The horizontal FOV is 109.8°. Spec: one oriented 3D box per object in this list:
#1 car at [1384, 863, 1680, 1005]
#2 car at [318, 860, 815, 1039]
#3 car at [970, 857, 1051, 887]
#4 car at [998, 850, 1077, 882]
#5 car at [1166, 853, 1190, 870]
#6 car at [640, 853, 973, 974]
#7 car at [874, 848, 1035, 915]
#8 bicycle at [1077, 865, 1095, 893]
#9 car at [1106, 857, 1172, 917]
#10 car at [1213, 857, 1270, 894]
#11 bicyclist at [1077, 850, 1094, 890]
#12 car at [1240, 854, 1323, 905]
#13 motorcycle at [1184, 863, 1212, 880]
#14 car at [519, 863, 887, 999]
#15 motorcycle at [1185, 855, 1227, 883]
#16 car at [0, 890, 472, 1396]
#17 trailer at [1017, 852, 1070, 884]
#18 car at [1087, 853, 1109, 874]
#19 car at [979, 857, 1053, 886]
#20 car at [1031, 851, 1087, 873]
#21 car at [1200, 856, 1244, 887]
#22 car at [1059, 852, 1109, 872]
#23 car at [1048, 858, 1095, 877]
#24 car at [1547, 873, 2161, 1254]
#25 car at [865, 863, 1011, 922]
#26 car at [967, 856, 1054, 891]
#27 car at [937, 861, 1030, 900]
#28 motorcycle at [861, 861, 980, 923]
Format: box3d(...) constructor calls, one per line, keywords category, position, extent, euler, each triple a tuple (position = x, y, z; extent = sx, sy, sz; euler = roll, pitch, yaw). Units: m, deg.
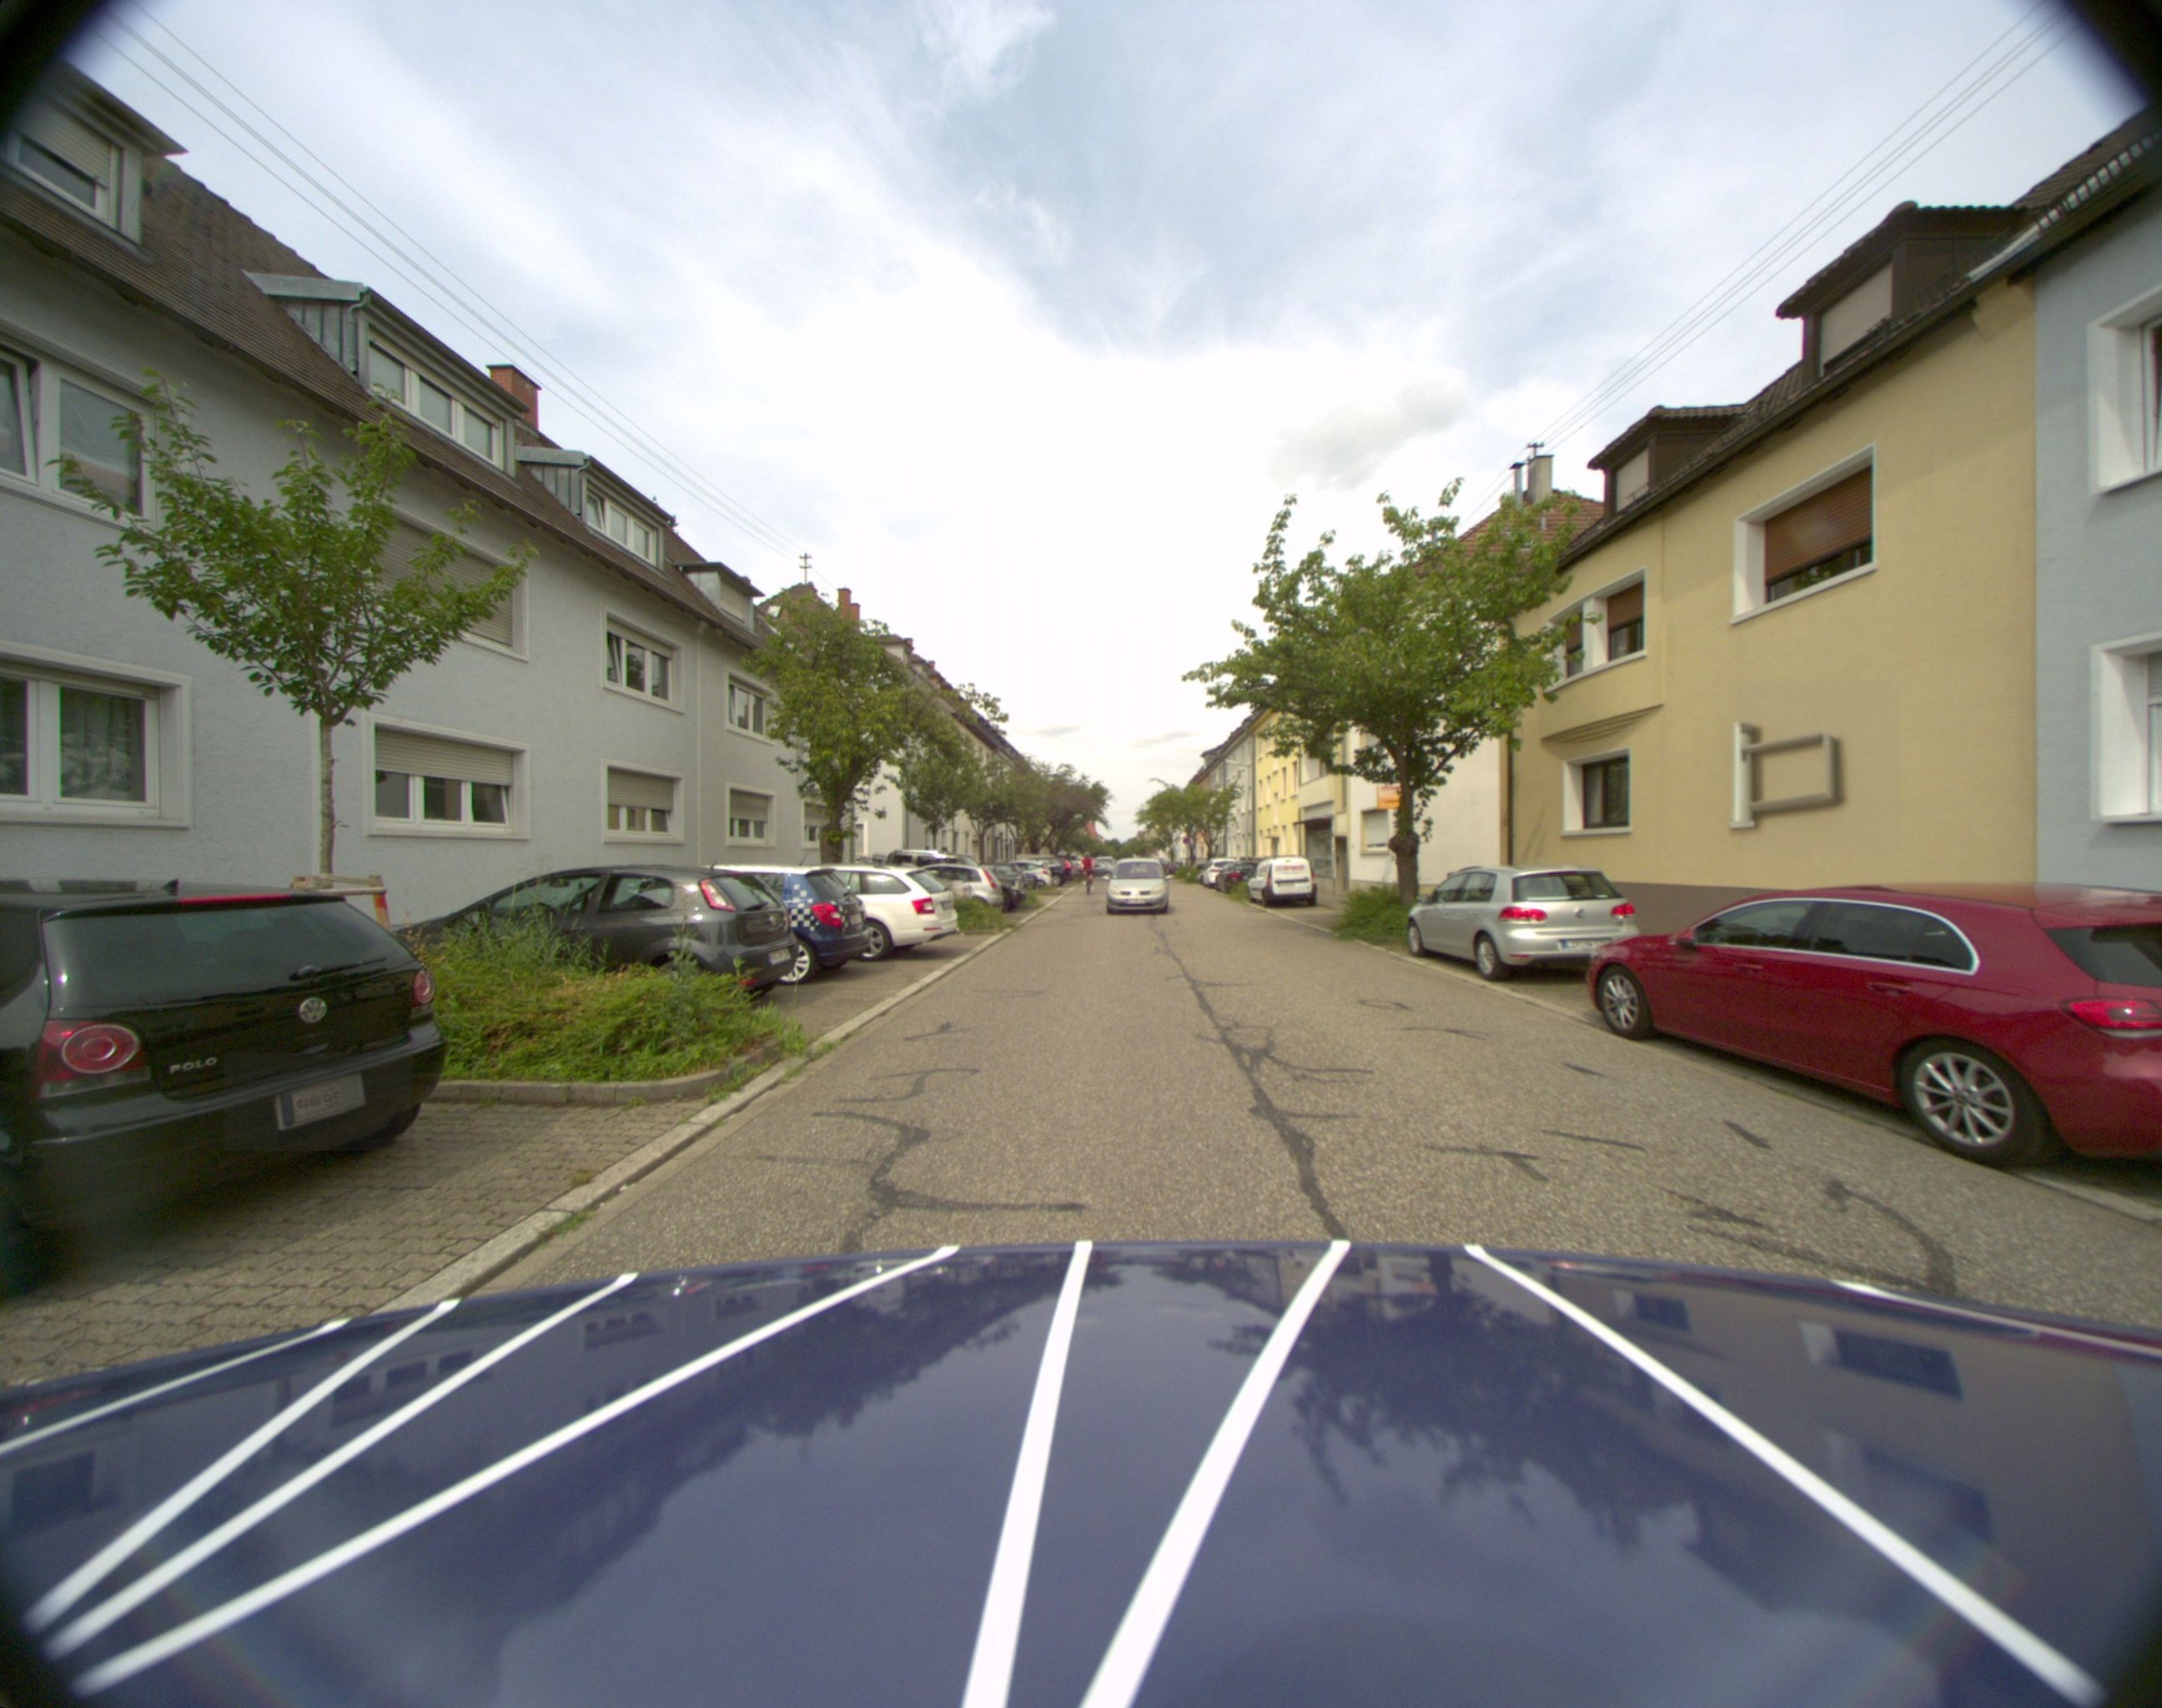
box3d(category="car", position=(5.984, 0.947, 10.800), extent=(1.776, 1.384, 4.276), euler=(-6, 0, 4))
box3d(category="car", position=(-5.060, 0.877, 7.830), extent=(3.996, 1.499, 1.713), euler=(1, 0, 3))
box3d(category="car", position=(-3.614, 0.909, 39.439), extent=(3.997, 1.402, 1.768), euler=(1, 0, 0))
box3d(category="car", position=(-2.466, 0.675, 43.721), extent=(4.223, 1.725, 1.904), euler=(1, 0, 5))
box3d(category="car", position=(9.596, 0.741, 75.371), extent=(1.841, 1.475, 4.121), euler=(-3, 0, 1))
box3d(category="car", position=(-4.236, 0.866, 12.213), extent=(4.624, 1.654, 1.893), euler=(1, 0, 4))
box3d(category="car", position=(-3.831, 0.809, 23.387), extent=(4.534, 1.847, 1.793), euler=(1, 1, 5))
box3d(category="bicycle", position=(0.238, 1.127, 34.641), extent=(0.693, 1.220, 1.937), euler=(-1, 0, 3))
box3d(category="car", position=(1.693, 0.917, 23.213), extent=(1.788, 1.595, 4.837), euler=(0, 0, 2))
box3d(category="car", position=(7.249, 0.909, 34.739), extent=(1.794, 1.483, 4.813), euler=(-1, 1, 3))
box3d(category="bicyclist", position=(0.227, 0.729, 34.610), extent=(0.694, 1.760, 0.986), euler=(-1, 1, 3))
box3d(category="car", position=(6.887, 0.807, 26.558), extent=(1.923, 1.572, 4.383), euler=(1, 0, 3))
box3d(category="motorcycle", position=(8.121, 1.223, 52.728), extent=(1.914, 1.185, 0.595), euler=(1, 1, -24))
box3d(category="car", position=(-4.822, 0.934, 10.053), extent=(3.996, 1.499, 1.713), euler=(1, 0, 3))
box3d(category="motorcycle", position=(7.474, 0.880, 45.681), extent=(0.941, 1.666, 2.467), euler=(1, -1, -40))
box3d(category="car", position=(-5.282, 0.922, 3.275), extent=(3.996, 1.413, 1.713), euler=(1, 0, 3))
box3d(category="trailer", position=(-2.278, 0.825, 46.298), extent=(2.966, 1.821, 1.401), euler=(1, 1, 6))
box3d(category="car", position=(1.662, 0.908, 74.846), extent=(1.998, 1.903, 4.704), euler=(-2, 0, 1))
box3d(category="car", position=(-3.496, 0.944, 41.526), extent=(3.756, 1.433, 1.865), euler=(1, 0, 4))
box3d(category="car", position=(-1.757, 0.659, 61.619), extent=(4.223, 1.668, 1.904), euler=(1, 0, 5))
box3d(category="car", position=(7.551, 0.903, 41.053), extent=(1.761, 1.547, 4.256), euler=(0, 0, 3))
box3d(category="car", position=(0.308, 0.835, 80.676), extent=(5.243, 2.011, 2.073), euler=(1, 1, -1))
box3d(category="car", position=(-0.801, 1.186, 66.161), extent=(3.996, 1.527, 1.638), euler=(1, 0, 2))
box3d(category="car", position=(5.565, 0.958, 5.391), extent=(1.881, 1.477, 4.513), euler=(1, 0, 3))
box3d(category="car", position=(-3.823, 1.014, 20.799), extent=(3.634, 1.446, 1.773), euler=(1, 0, -1))
box3d(category="car", position=(-3.333, 0.936, 36.599), extent=(3.997, 1.521, 1.768), euler=(1, 0, 0))
box3d(category="car", position=(-4.020, 1.074, 31.721), extent=(3.551, 1.444, 1.809), euler=(1, 0, 2))
box3d(category="motorcycle", position=(-3.899, 0.903, 18.688), extent=(2.707, 1.455, 1.031), euler=(0, 0, -1))
